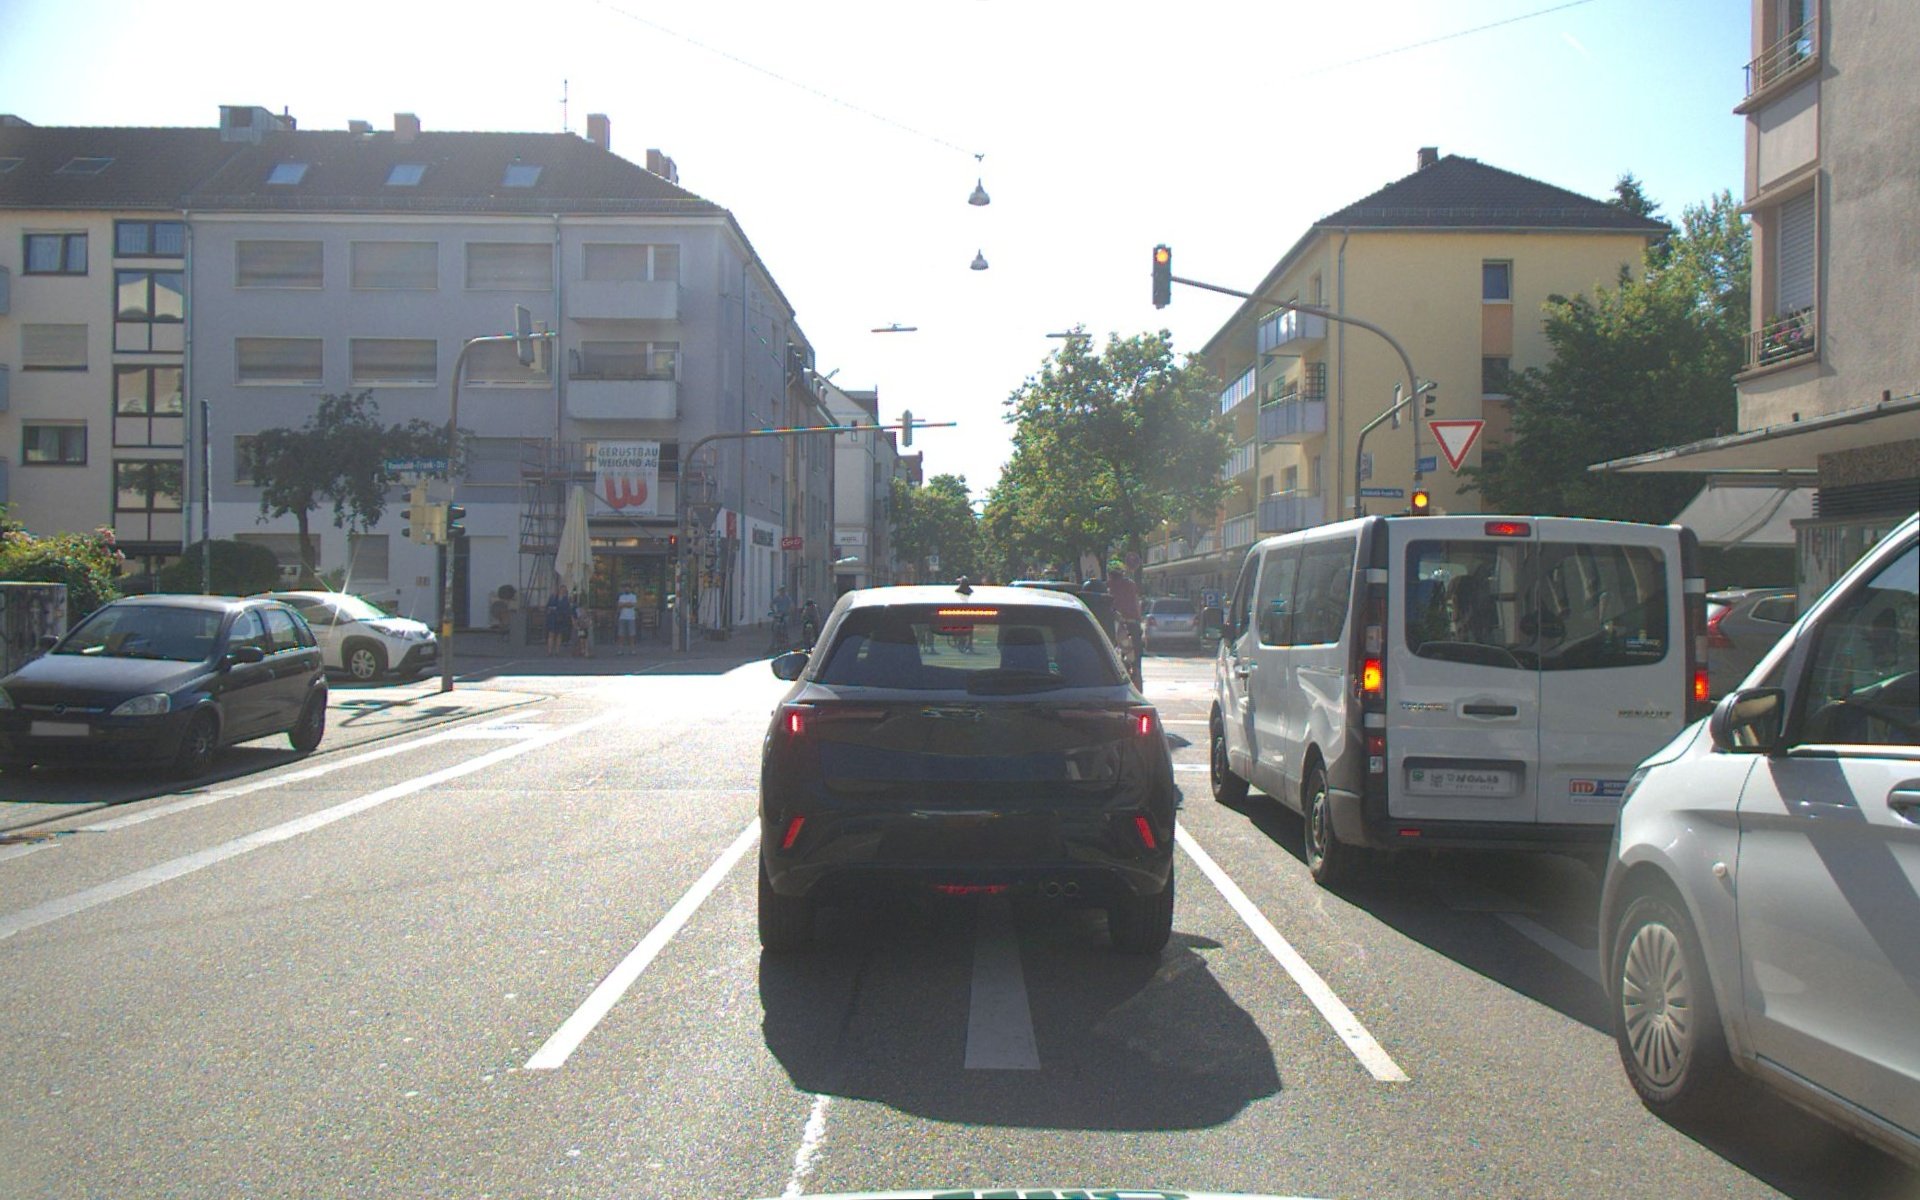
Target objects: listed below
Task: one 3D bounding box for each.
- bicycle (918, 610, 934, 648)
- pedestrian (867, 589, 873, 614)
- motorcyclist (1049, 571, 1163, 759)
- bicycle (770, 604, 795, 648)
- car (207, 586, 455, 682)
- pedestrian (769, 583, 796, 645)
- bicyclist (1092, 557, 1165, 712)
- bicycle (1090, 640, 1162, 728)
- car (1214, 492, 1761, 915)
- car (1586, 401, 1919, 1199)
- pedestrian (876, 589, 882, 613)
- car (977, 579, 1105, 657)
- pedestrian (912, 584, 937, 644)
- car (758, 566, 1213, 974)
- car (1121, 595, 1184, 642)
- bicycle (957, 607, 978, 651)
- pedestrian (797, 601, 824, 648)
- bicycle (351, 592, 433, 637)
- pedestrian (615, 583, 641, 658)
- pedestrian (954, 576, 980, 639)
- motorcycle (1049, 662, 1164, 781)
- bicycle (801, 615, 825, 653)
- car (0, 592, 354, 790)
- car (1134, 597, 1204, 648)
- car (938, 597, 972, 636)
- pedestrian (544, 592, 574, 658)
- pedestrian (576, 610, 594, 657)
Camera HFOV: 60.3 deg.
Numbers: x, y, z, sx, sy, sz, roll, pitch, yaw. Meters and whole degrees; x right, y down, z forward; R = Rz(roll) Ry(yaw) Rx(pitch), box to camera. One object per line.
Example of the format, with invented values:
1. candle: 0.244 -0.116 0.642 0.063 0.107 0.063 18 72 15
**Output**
1. bicycle: -0.943 0.794 45.587 0.434 1.010 2.068 0 0 -2
2. pedestrian: -6.294 0.097 115.871 0.393 1.704 0.418 0 0 0
3. motorcyclist: 1.226 0.531 14.093 0.846 1.528 1.159 0 0 -1
4. bicycle: -4.909 0.698 45.900 0.511 1.167 2.283 0 0 -2
5. car: -11.085 0.565 29.293 3.693 1.563 1.773 1 2 7
6. pedestrian: -4.899 0.377 45.674 0.692 1.707 0.802 0 0 -2
7. bicyclist: 1.963 0.389 19.424 0.675 1.742 1.413 0 0 -2
8. bicycle: 1.946 0.965 19.625 0.565 0.920 2.300 0 0 -2
9. car: 2.912 0.483 10.404 1.952 2.014 4.896 1 0 1
10. car: 3.030 0.522 3.044 1.799 1.901 4.995 1 0 -1
11. pedestrian: -5.690 0.086 115.794 0.393 1.704 0.418 0 0 0
12. car: 1.991 0.388 39.277 1.863 1.758 4.073 0 0 21
13. pedestrian: -0.973 0.384 45.573 0.666 1.634 0.762 0 0 -2
14. car: 0.049 0.647 8.354 1.735 1.557 3.999 1 0 -2
15. car: 6.238 0.584 53.916 1.601 1.458 4.000 0 0 0
16. bicycle: 0.189 0.776 45.708 0.511 1.167 2.169 0 0 -2
17. pedestrian: -4.114 0.674 45.625 0.692 1.275 0.802 0 0 -2
18. bicycle: -15.323 0.388 44.626 2.066 1.193 0.735 0 0 -24
19. pedestrian: -8.052 0.490 40.113 0.550 1.806 0.583 1 0 -8
20. pedestrian: 0.197 0.210 45.755 0.692 1.730 0.802 0 0 -2
21. motorcycle: 1.216 1.004 14.112 0.808 0.860 1.884 0 0 0
22. bicycle: -4.066 0.931 45.878 0.511 1.010 2.338 0 0 -2
23. car: -6.809 0.688 14.499 1.583 1.450 3.710 2 0 0
24. car: 6.150 0.636 49.032 1.601 1.458 3.956 0 0 0
25. car: -0.247 0.901 90.657 1.811 2.049 4.000 0 0 0
26. pedestrian: -9.554 0.590 39.439 0.572 1.547 0.649 0 0 -3
27. pedestrian: -8.941 0.799 39.444 0.348 1.111 0.461 0 0 -3
